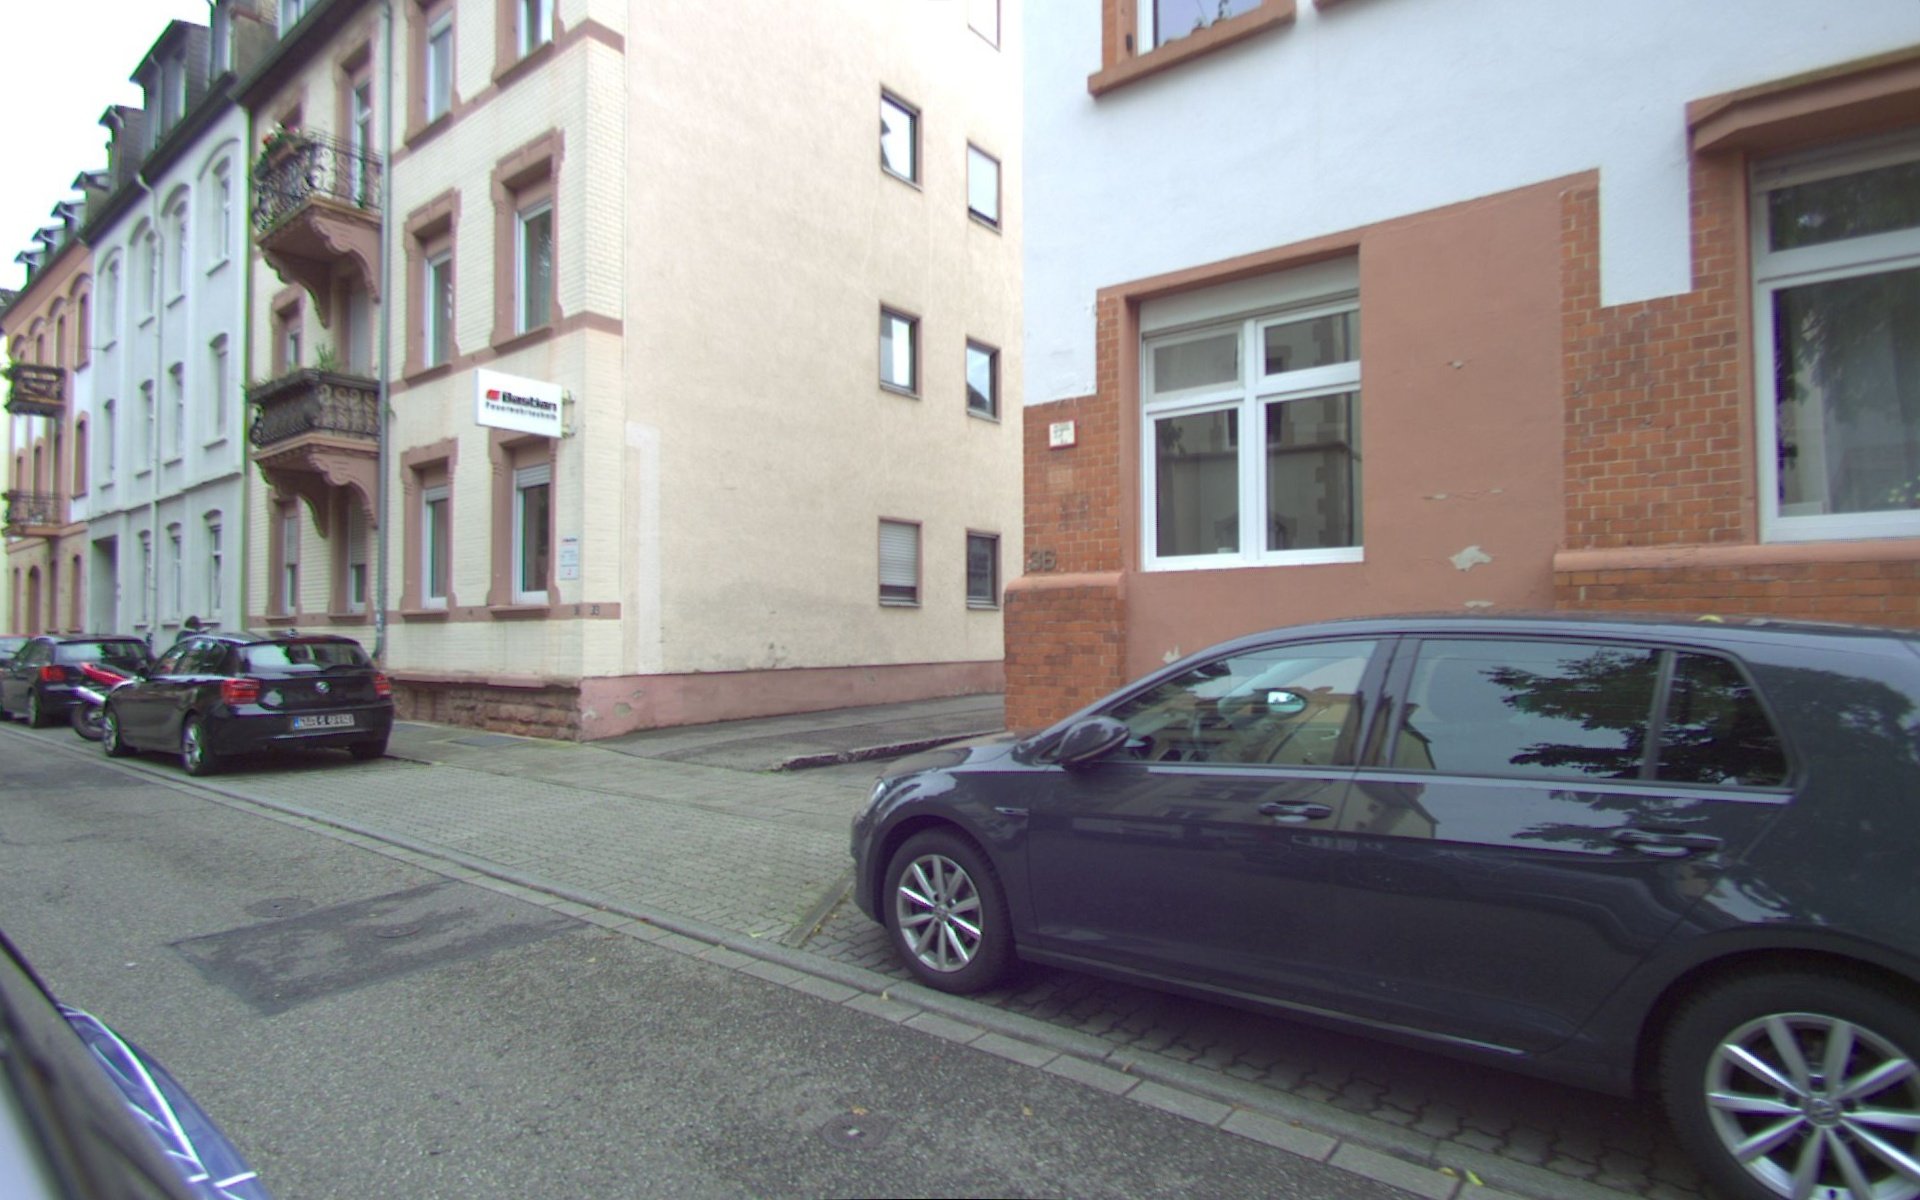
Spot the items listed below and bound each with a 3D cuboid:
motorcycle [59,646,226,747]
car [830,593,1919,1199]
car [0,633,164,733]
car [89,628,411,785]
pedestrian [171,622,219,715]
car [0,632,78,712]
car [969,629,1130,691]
[{"bbox_3d":[-10.873,1.258,13.529,1.685,1.235,0.487,0,-2,-34],"label":"motorcycle"},{"bbox_3d":[1.459,0.746,3.469,3.913,1.427,1.451,-3,-1,39],"label":"car"},{"bbox_3d":[-14.447,1.275,16.434,3.467,1.393,1.639,-2,-1,39],"label":"car"},{"bbox_3d":[-7.920,1.051,11.184,3.995,1.401,1.881,-2,-2,39],"label":"car"},{"bbox_3d":[-13.716,1.216,18.151,0.543,1.621,0.570,-2,-2,38],"label":"pedestrian"},{"bbox_3d":[-19.151,1.406,20.285,3.338,1.483,1.591,-2,-3,38],"label":"car"},{"bbox_3d":[1.934,1.267,22.374,3.349,1.190,1.472,-1,0,42],"label":"car"}]
